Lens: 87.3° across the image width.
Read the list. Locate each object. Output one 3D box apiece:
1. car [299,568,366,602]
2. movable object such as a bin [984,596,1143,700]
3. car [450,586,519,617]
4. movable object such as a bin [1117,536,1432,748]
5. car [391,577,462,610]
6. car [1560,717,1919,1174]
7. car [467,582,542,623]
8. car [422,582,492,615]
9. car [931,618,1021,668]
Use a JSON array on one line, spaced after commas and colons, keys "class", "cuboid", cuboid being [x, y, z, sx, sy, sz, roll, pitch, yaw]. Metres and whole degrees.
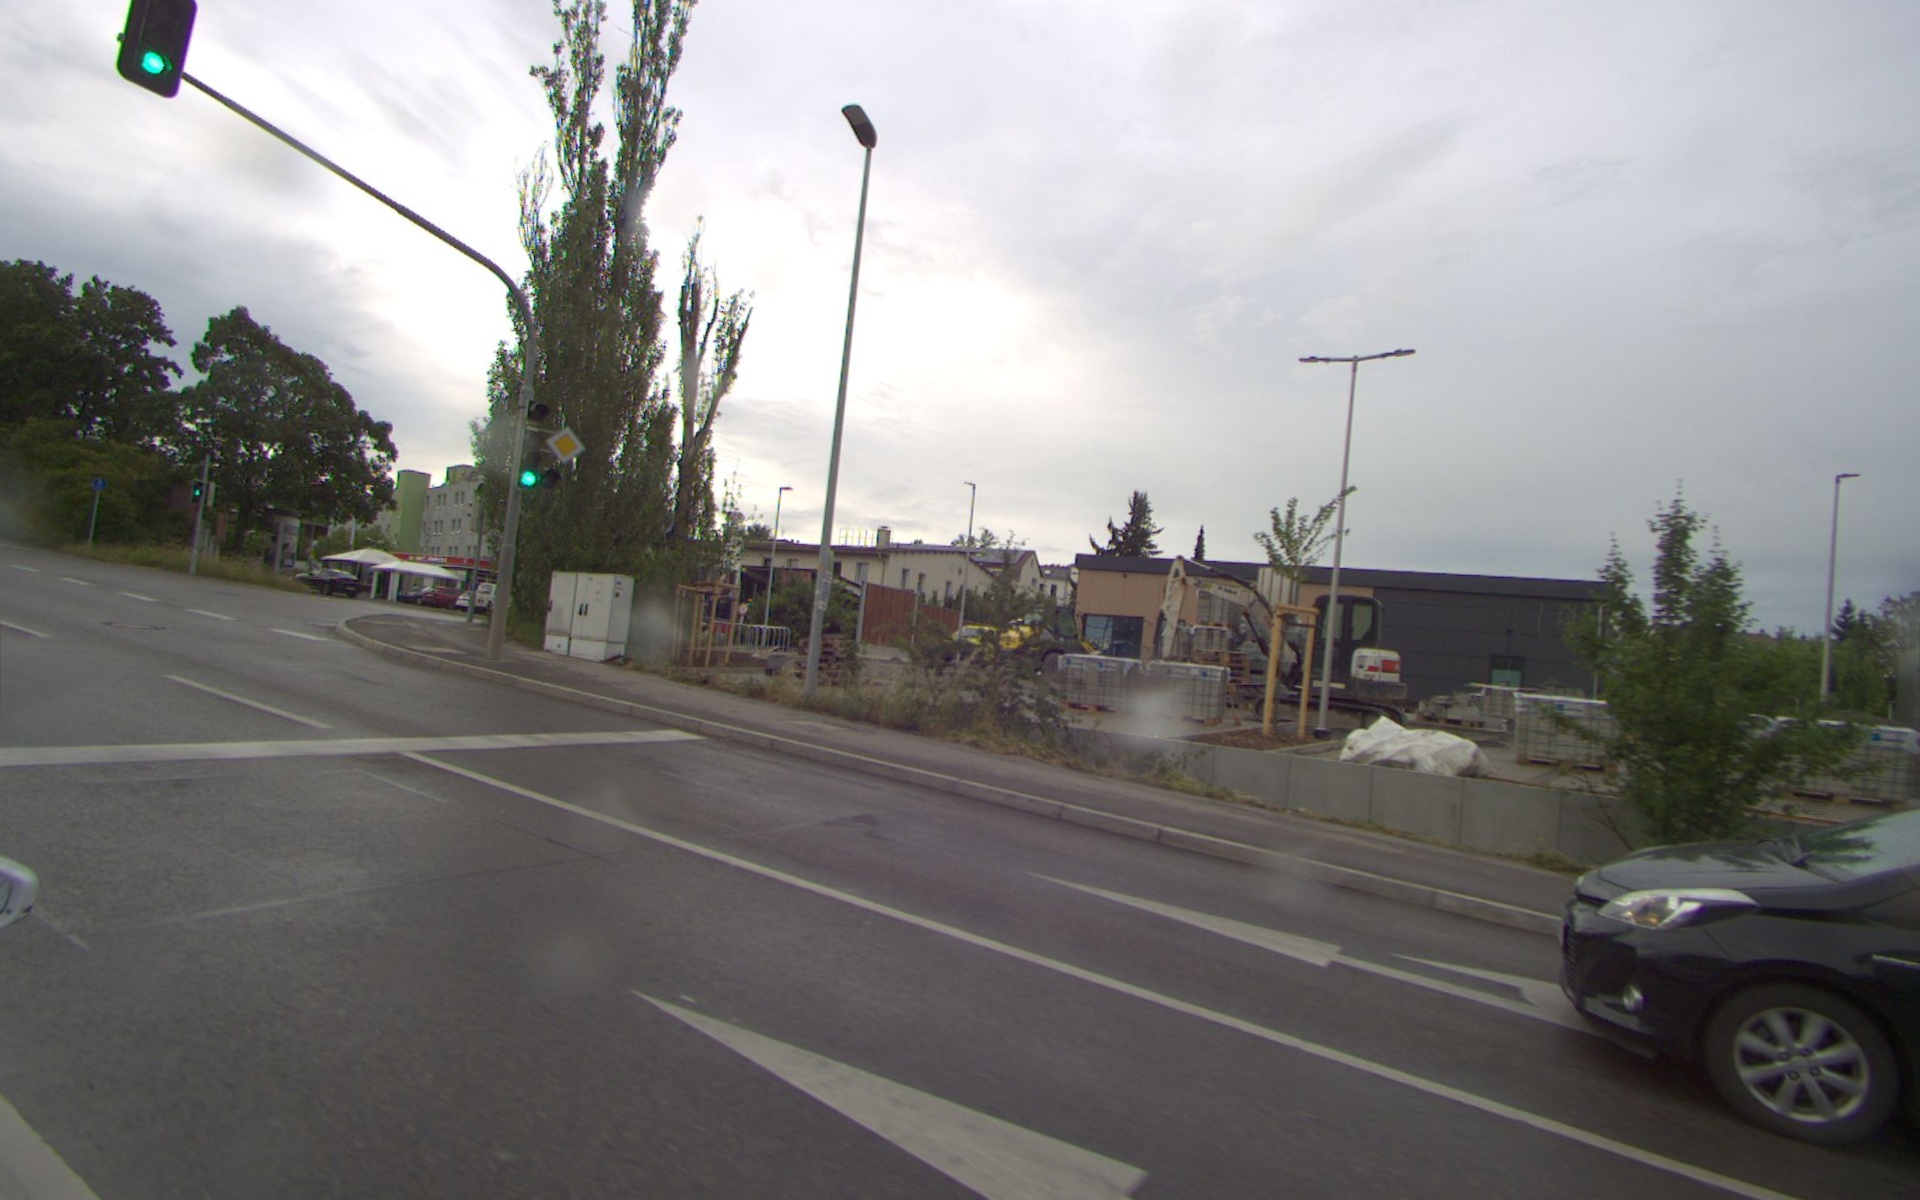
[{"class": "car", "cuboid": [-40.143, -0.967, 64.327, 4.073, 1.602, 1.783, 5, -5, 31]}, {"class": "movable object such as a bin", "cuboid": [3.426, 1.601, 32.729, 4.943, 2.647, 1.881, 11, -3, -37]}, {"class": "car", "cuboid": [-30.746, 0.147, 65.124, 1.490, 1.413, 3.883, 7, -3, 24]}, {"class": "movable object such as a bin", "cuboid": [6.210, 0.797, 20.041, 5.326, 3.312, 2.311, 8, -2, 24]}, {"class": "car", "cuboid": [-35.265, -0.431, 66.588, 1.490, 1.581, 3.883, 7, -3, 24]}, {"class": "car", "cuboid": [4.956, 1.503, 3.738, 4.564, 1.485, 1.750, 5, -4, 31]}, {"class": "car", "cuboid": [-28.632, 0.165, 63.336, 1.824, 1.967, 3.883, 7, -3, 24]}, {"class": "car", "cuboid": [-32.865, -0.094, 65.809, 1.490, 1.581, 3.883, 7, -3, 24]}, {"class": "car", "cuboid": [0.821, 2.096, 48.510, 2.074, 1.820, 4.317, 7, -3, 36]}]
